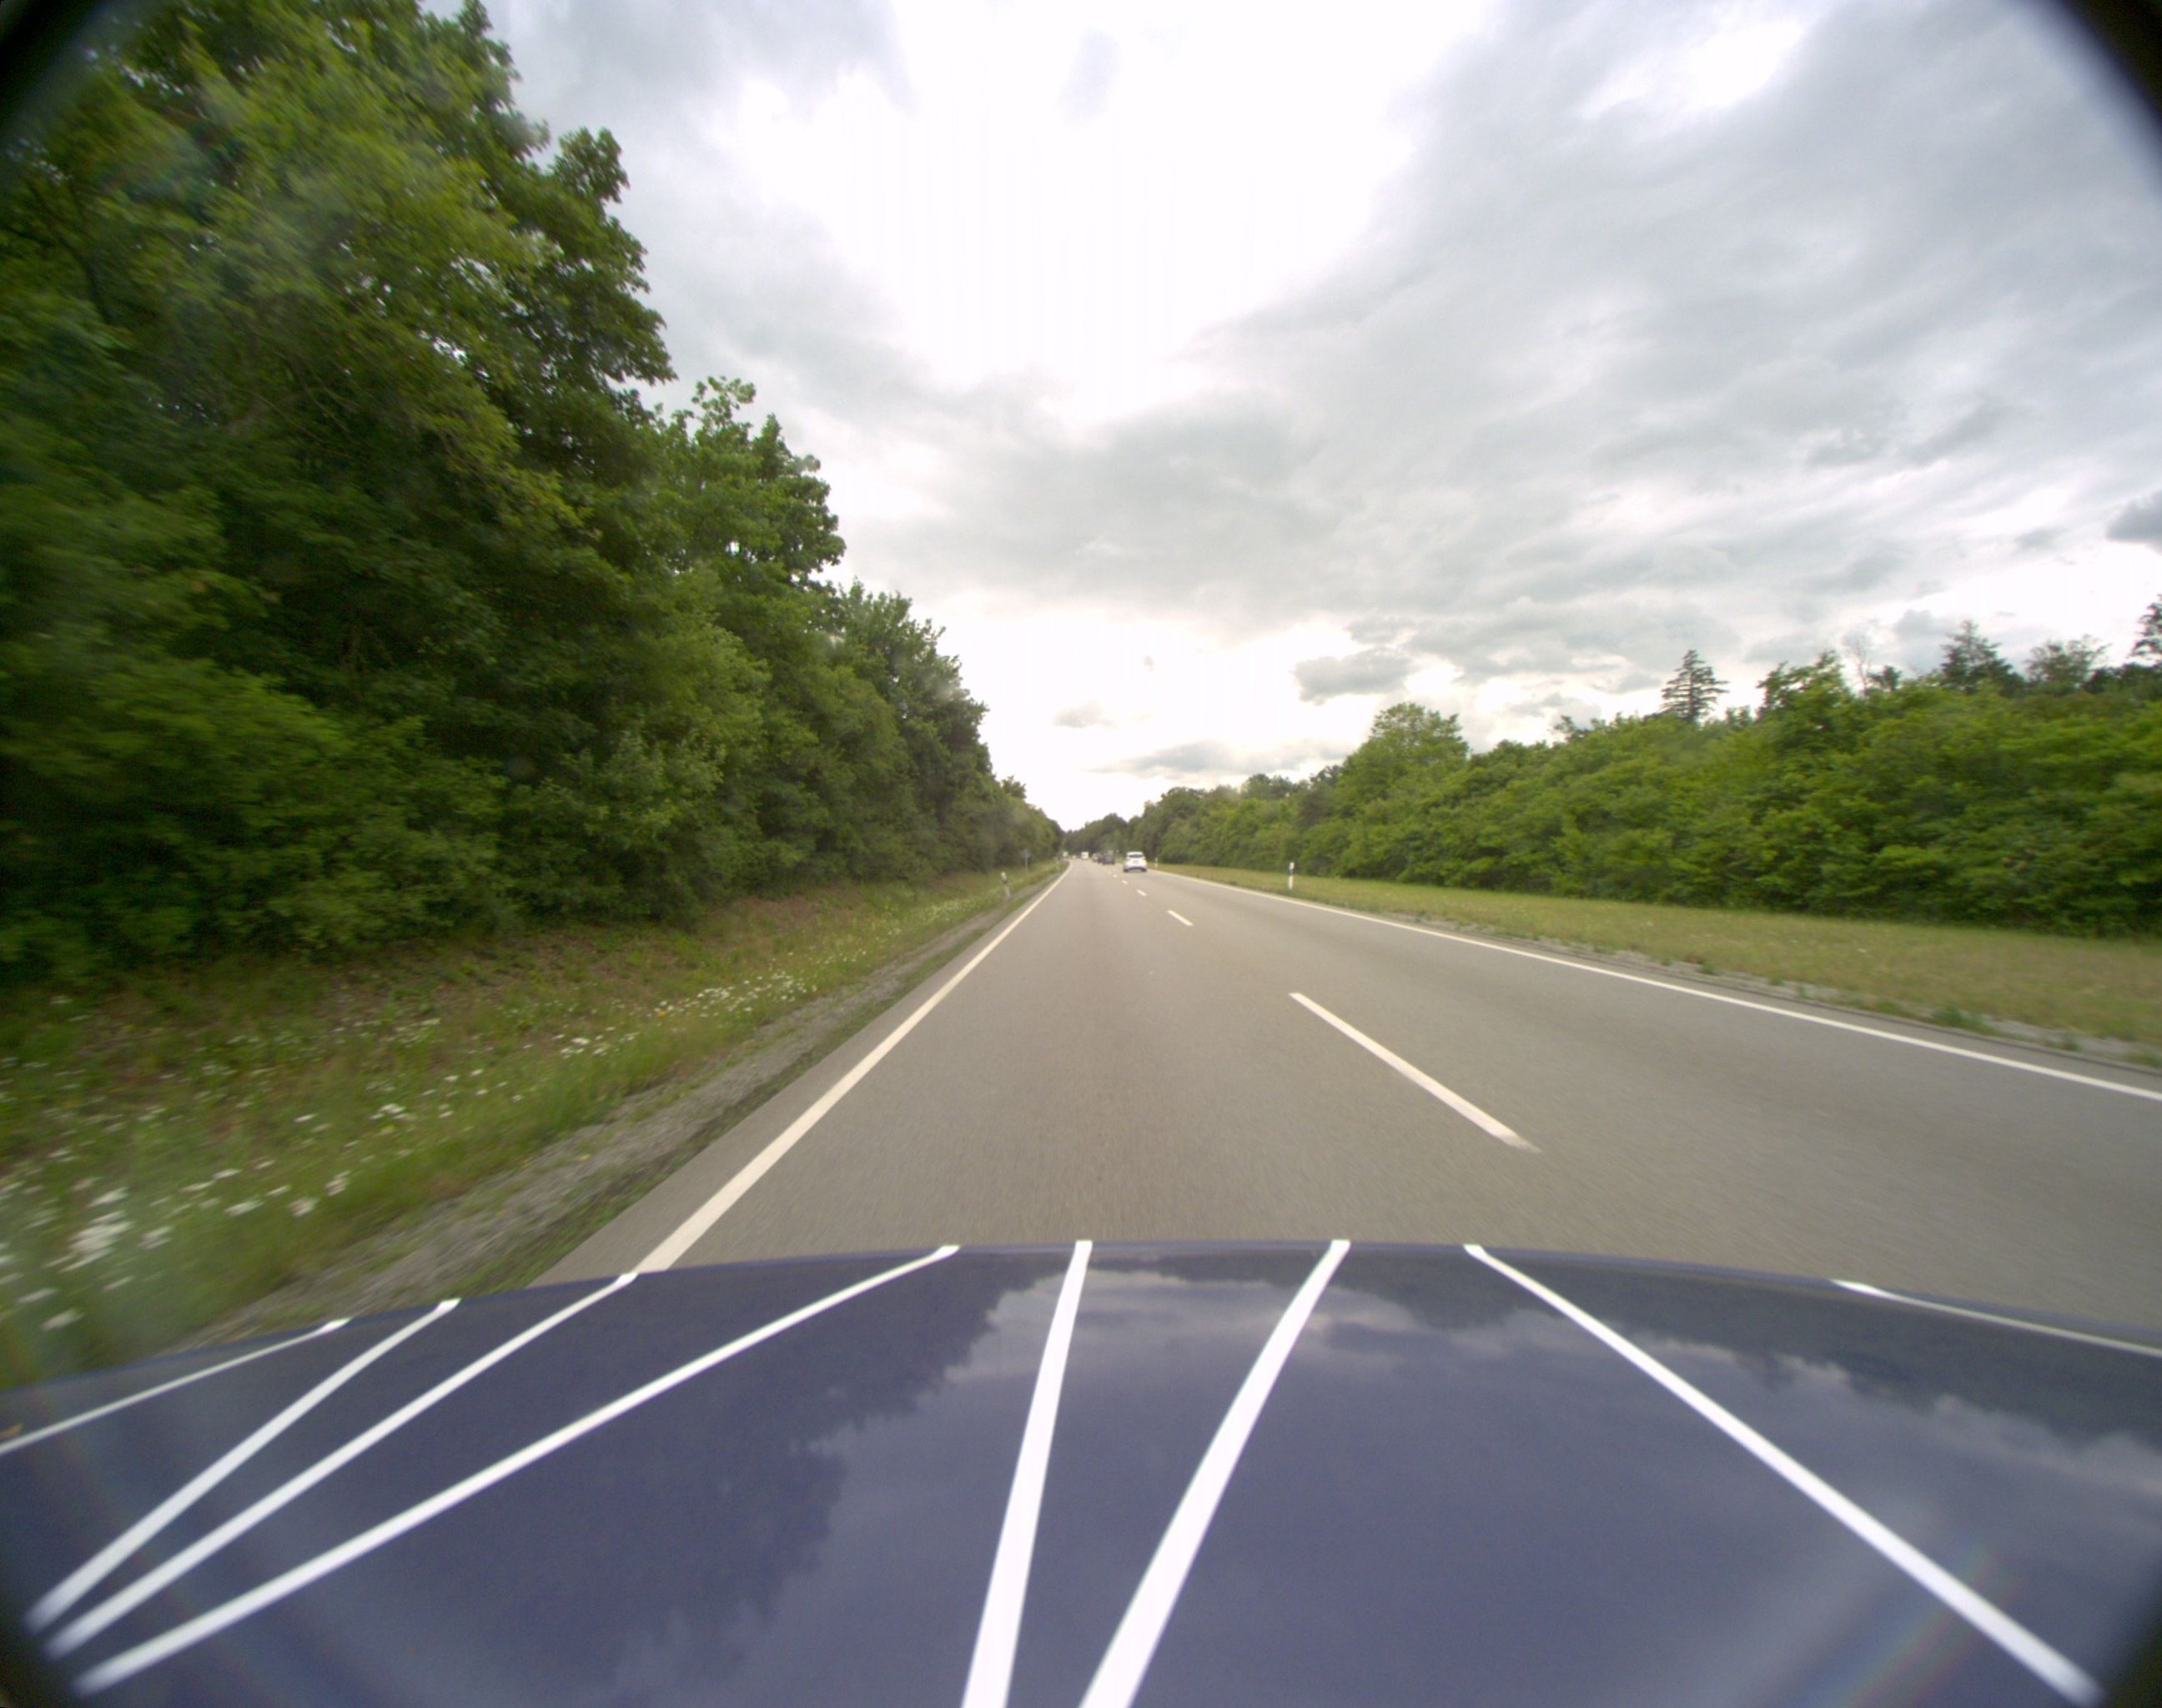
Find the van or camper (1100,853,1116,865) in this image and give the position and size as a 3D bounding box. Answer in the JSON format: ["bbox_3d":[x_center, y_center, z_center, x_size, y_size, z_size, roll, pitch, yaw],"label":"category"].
[{"bbox_3d":[4.165,0.762,117.269,1.999,1.772,4.420,-2,0,-3],"label":"van or camper"}]

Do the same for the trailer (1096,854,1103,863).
[{"bbox_3d":[4.243,0.998,173.658,1.627,1.881,3.783,-2,0,0],"label":"trailer"}]

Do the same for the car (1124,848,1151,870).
[{"bbox_3d":[4.854,0.421,65.972,1.918,1.770,4.612,-2,0,-1],"label":"car"}]

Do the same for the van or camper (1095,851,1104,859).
[{"bbox_3d":[4.252,0.168,178.329,1.926,1.881,5.361,-2,0,0],"label":"van or camper"}]
